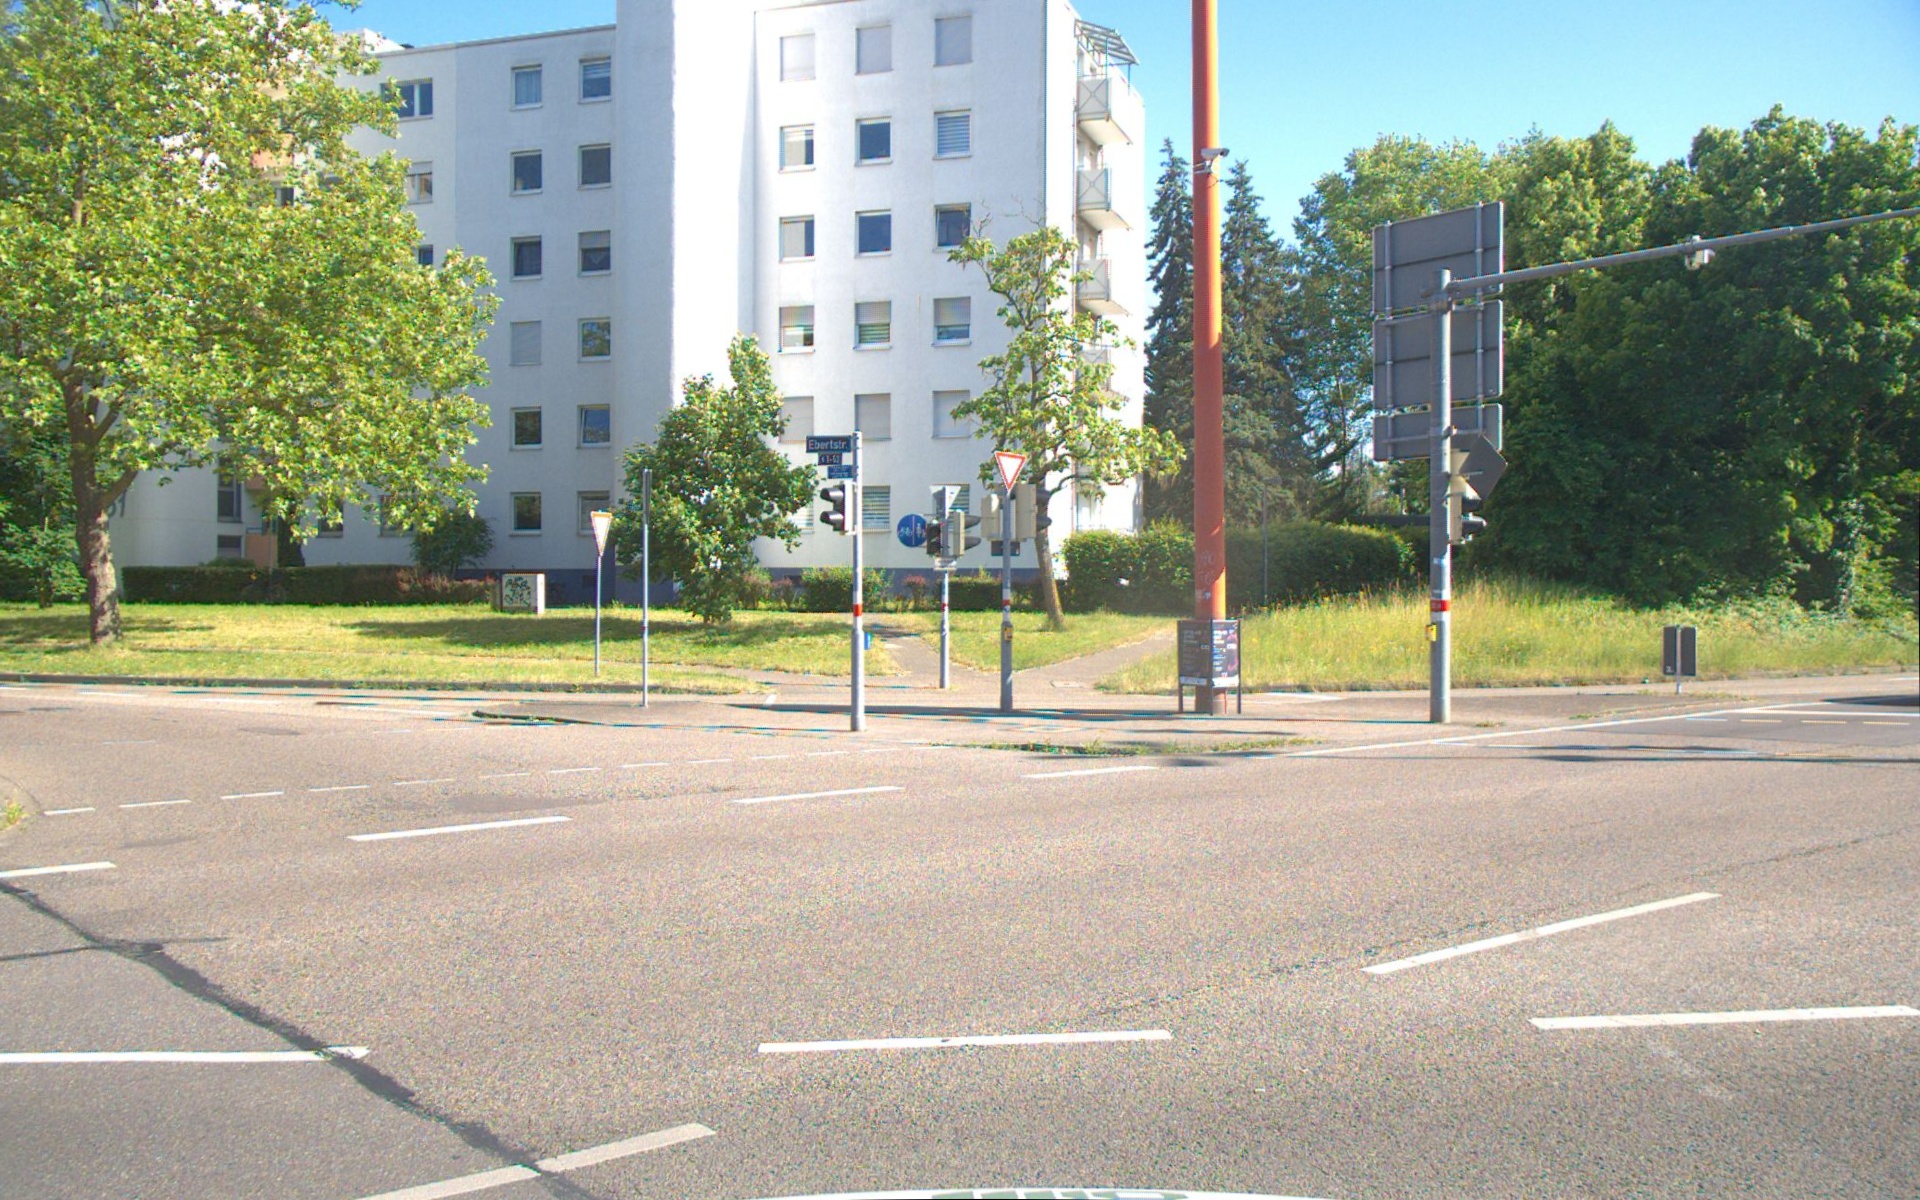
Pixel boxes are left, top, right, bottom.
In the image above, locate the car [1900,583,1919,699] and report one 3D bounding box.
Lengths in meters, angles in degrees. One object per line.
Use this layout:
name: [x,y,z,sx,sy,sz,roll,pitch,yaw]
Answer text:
car: [15.901,0.594,24.693,4.177,1.681,1.857,0,-1,-39]
